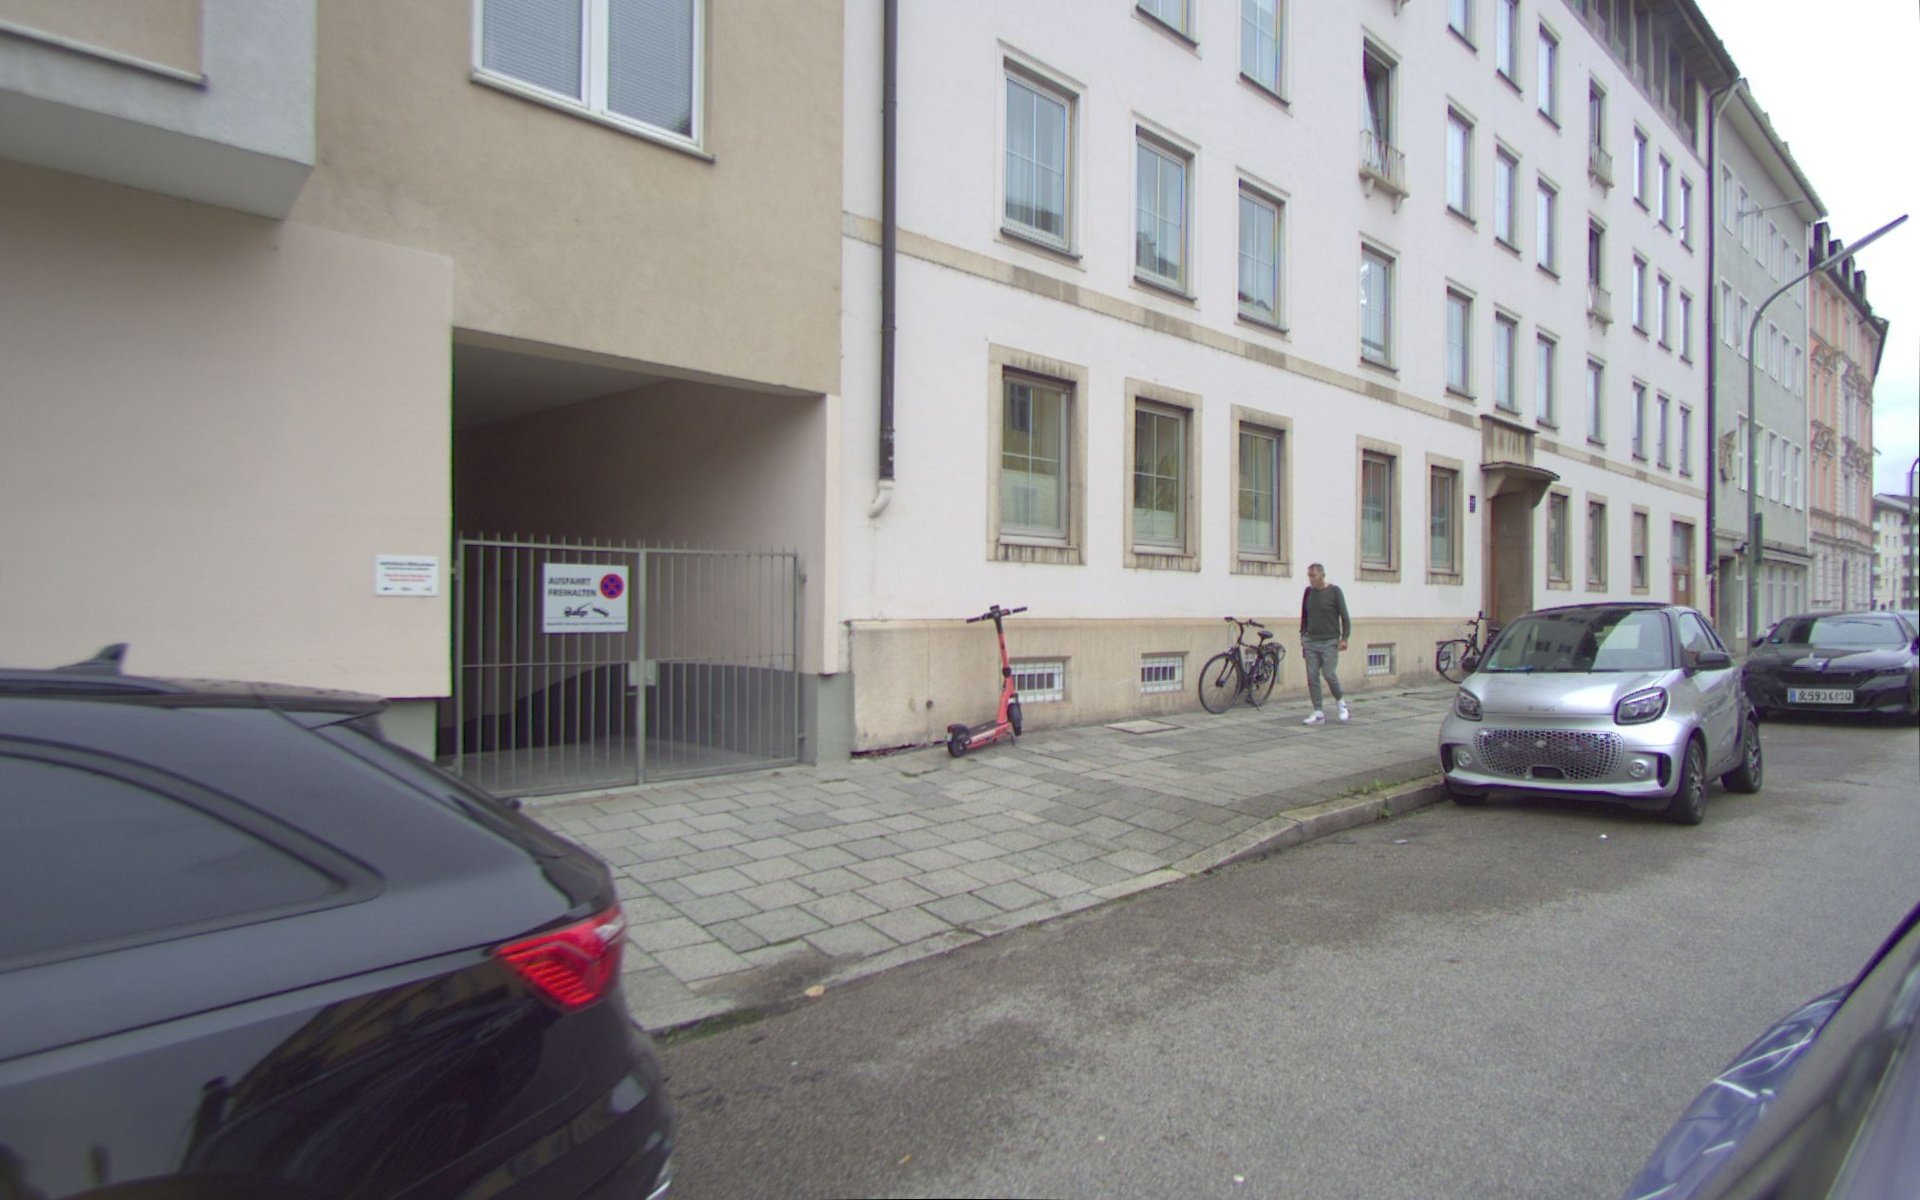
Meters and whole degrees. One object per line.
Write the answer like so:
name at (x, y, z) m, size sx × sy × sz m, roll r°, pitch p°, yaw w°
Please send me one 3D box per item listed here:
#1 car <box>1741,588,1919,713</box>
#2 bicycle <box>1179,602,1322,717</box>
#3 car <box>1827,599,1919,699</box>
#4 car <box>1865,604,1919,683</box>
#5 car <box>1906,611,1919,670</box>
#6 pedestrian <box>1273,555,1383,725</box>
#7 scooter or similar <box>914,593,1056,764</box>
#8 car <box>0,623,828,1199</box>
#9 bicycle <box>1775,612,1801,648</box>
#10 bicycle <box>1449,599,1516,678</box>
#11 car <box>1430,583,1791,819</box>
car at (13.001, 0.659, 14.595) m, size 5.228 × 1.504 × 1.804 m, roll 0°, pitch -3°, yaw -42°
bicycle at (3.488, 0.661, 12.055) m, size 2.066 × 1.232 × 0.531 m, roll 0°, pitch 3°, yaw -41°
car at (16.922, 0.804, 17.950) m, size 4.553 × 1.610 × 1.647 m, roll 0°, pitch -3°, yaw -41°
car at (20.528, 0.846, 21.092) m, size 4.625 × 1.542 × 1.843 m, roll 0°, pitch -1°, yaw -40°
car at (25.772, 0.994, 26.015) m, size 4.451 × 1.447 × 1.675 m, roll 0°, pitch -2°, yaw -41°
pedestrian at (4.088, 0.409, 11.246) m, size 0.889 × 1.784 × 0.724 m, roll 0°, pitch 3°, yaw -40°
scooter or similar at (0.264, 0.646, 9.177) m, size 0.438 × 1.375 × 1.569 m, roll 0°, pitch 2°, yaw 37°
car at (-2.618, 0.763, 0.958) m, size 4.871 × 1.406 × 1.746 m, roll 0°, pitch -2°, yaw -44°
bicycle at (27.524, 0.987, 33.633) m, size 1.916 × 1.172 × 0.385 m, roll 1°, pitch -1°, yaw -42°
bicycle at (8.693, 0.609, 16.803) m, size 0.512 × 1.238 × 1.958 m, roll 0°, pitch 0°, yaw 42°
car at (5.246, 0.685, 8.084) m, size 2.830 × 1.515 × 1.652 m, roll 0°, pitch -3°, yaw -41°
